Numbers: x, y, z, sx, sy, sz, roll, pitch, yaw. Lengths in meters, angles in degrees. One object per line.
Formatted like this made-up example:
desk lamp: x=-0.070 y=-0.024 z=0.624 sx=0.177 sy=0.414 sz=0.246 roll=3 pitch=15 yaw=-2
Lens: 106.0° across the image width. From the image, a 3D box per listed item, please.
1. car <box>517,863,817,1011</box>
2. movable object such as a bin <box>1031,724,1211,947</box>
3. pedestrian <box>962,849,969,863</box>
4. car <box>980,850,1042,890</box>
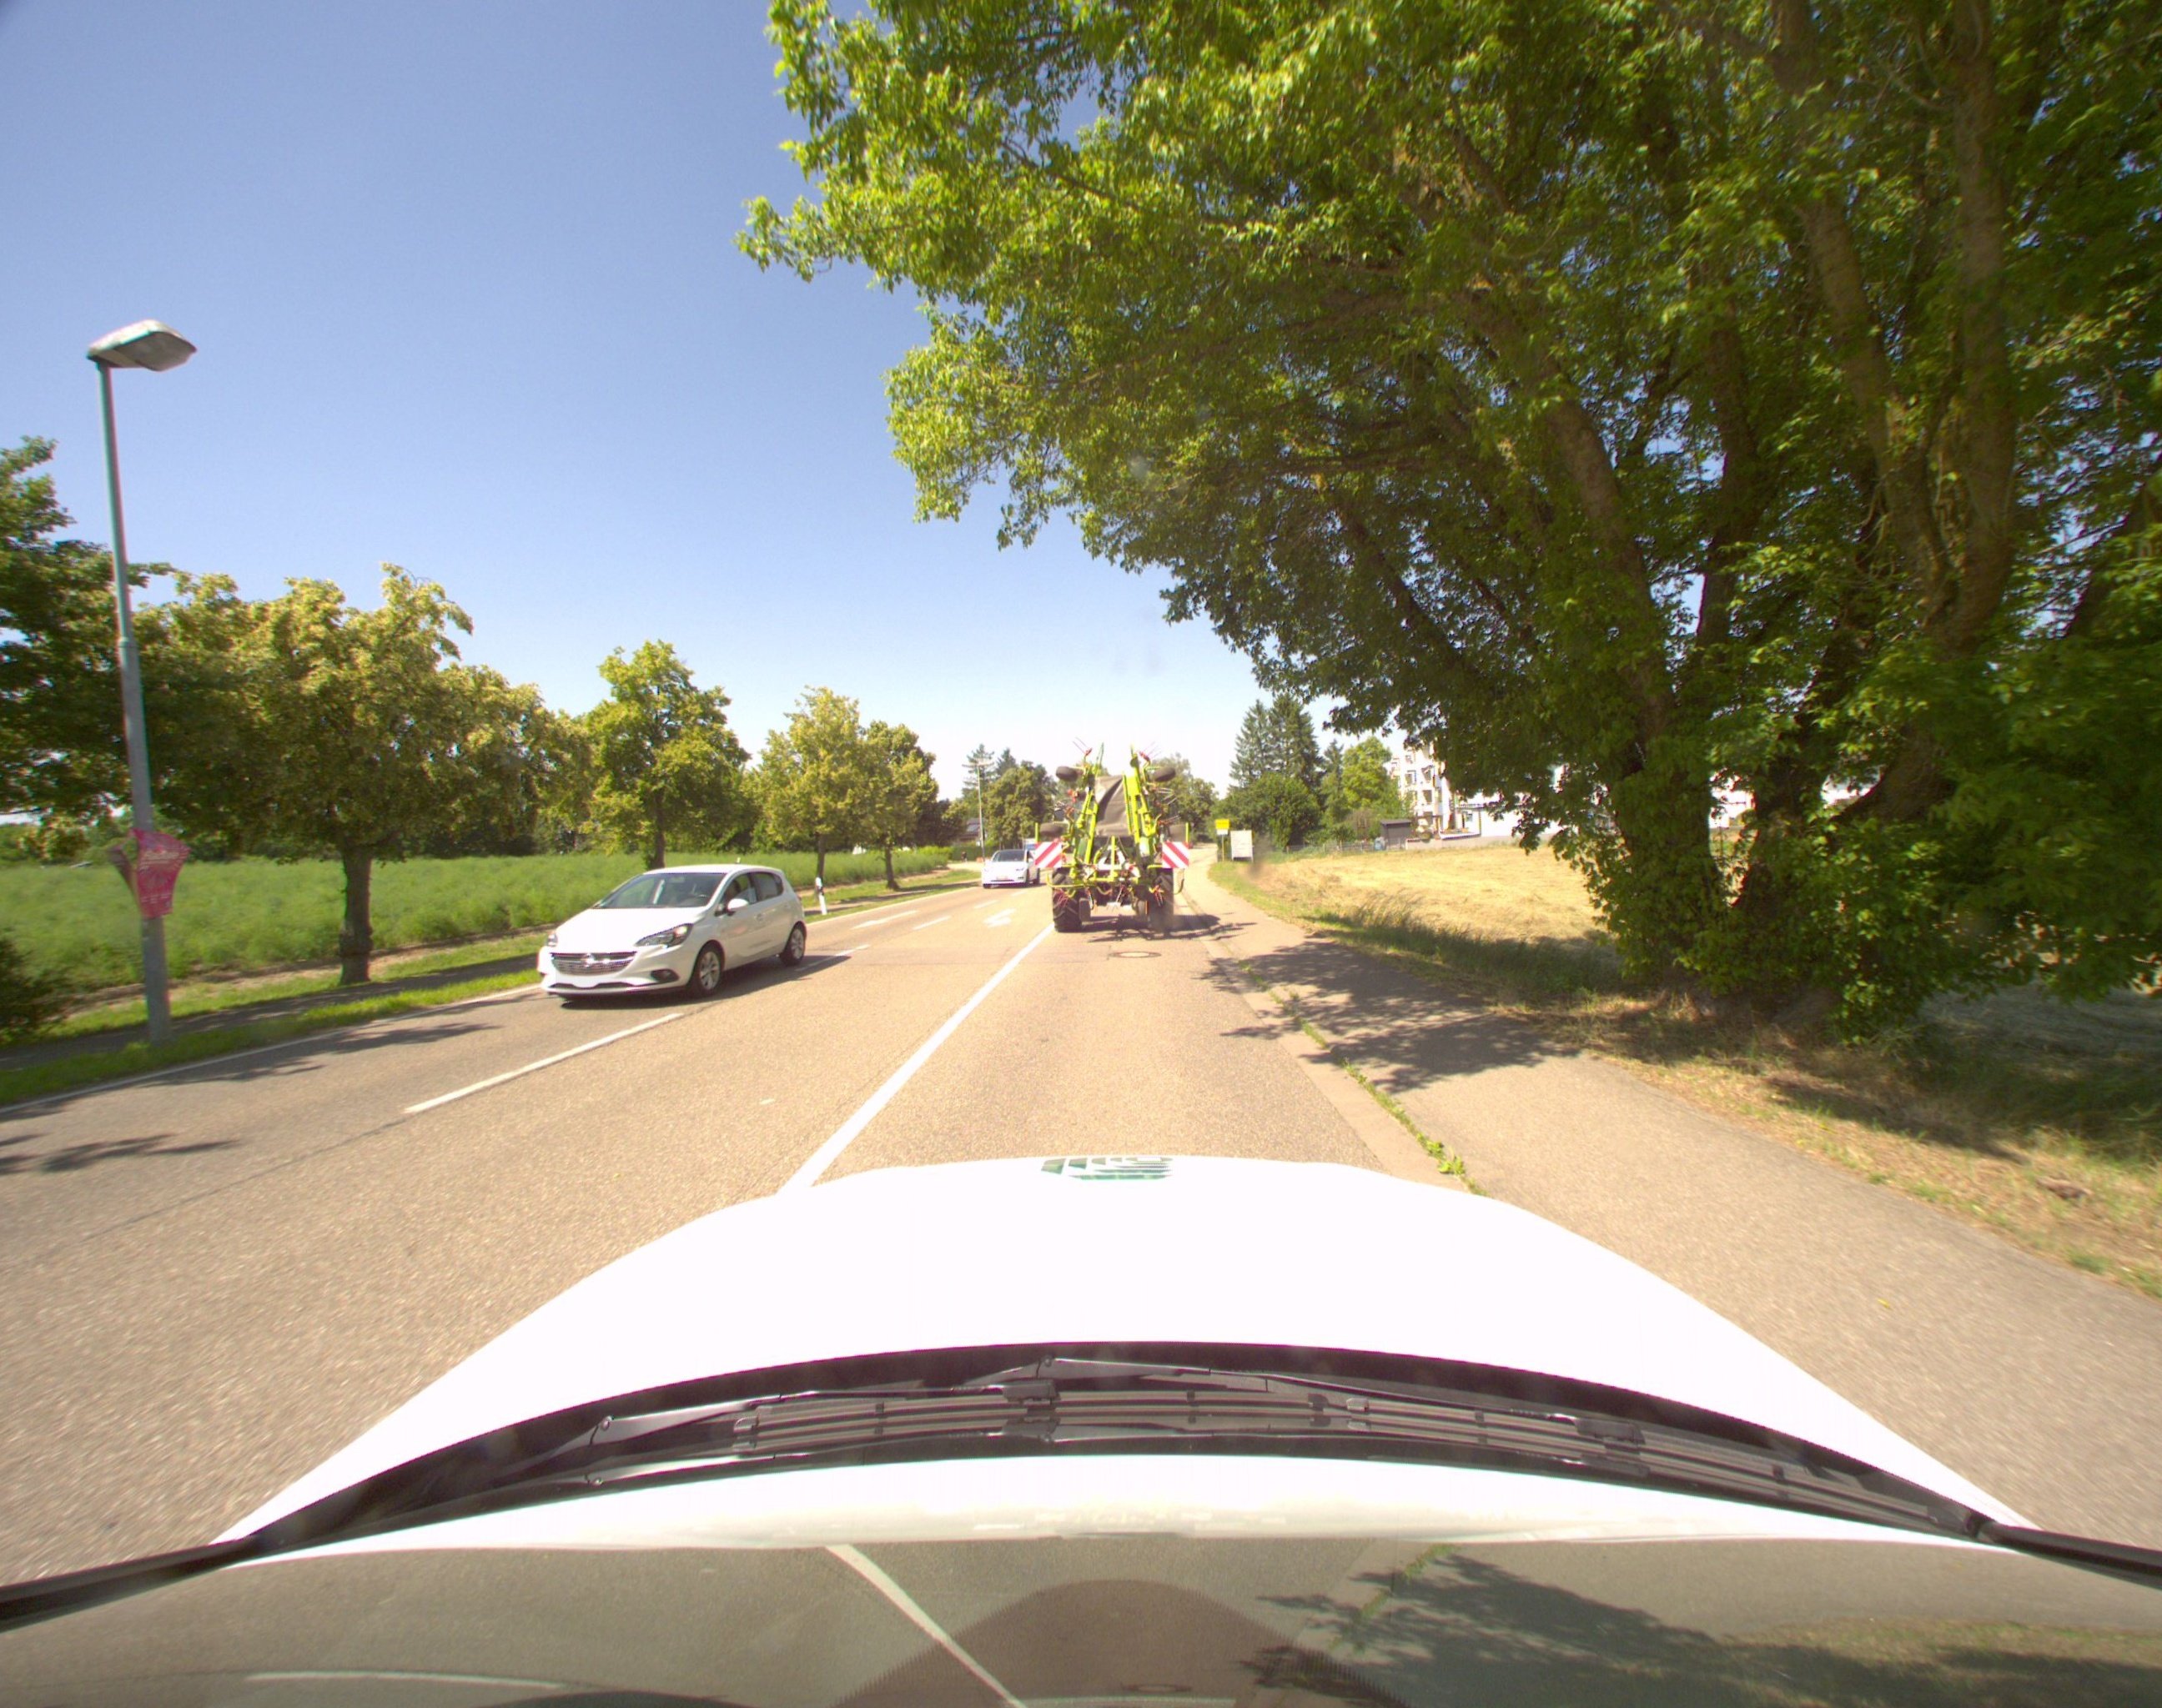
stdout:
car: x=-4.880 y=0.872 z=10.287 sx=1.642 sy=1.434 sz=3.899 roll=-1 pitch=0 yaw=2
movable object such as a bin: x=0.704 y=-0.359 z=17.910 sx=2.843 sy=3.541 sz=9.702 roll=-1 pitch=1 yaw=1
pedestrian: x=-13.730 y=0.260 z=96.881 sx=0.544 sy=1.716 sz=0.680 roll=-1 pitch=0 yaw=45
car: x=-2.981 y=0.633 z=35.777 sx=1.867 sy=1.572 sz=4.479 roll=-2 pitch=1 yaw=6
